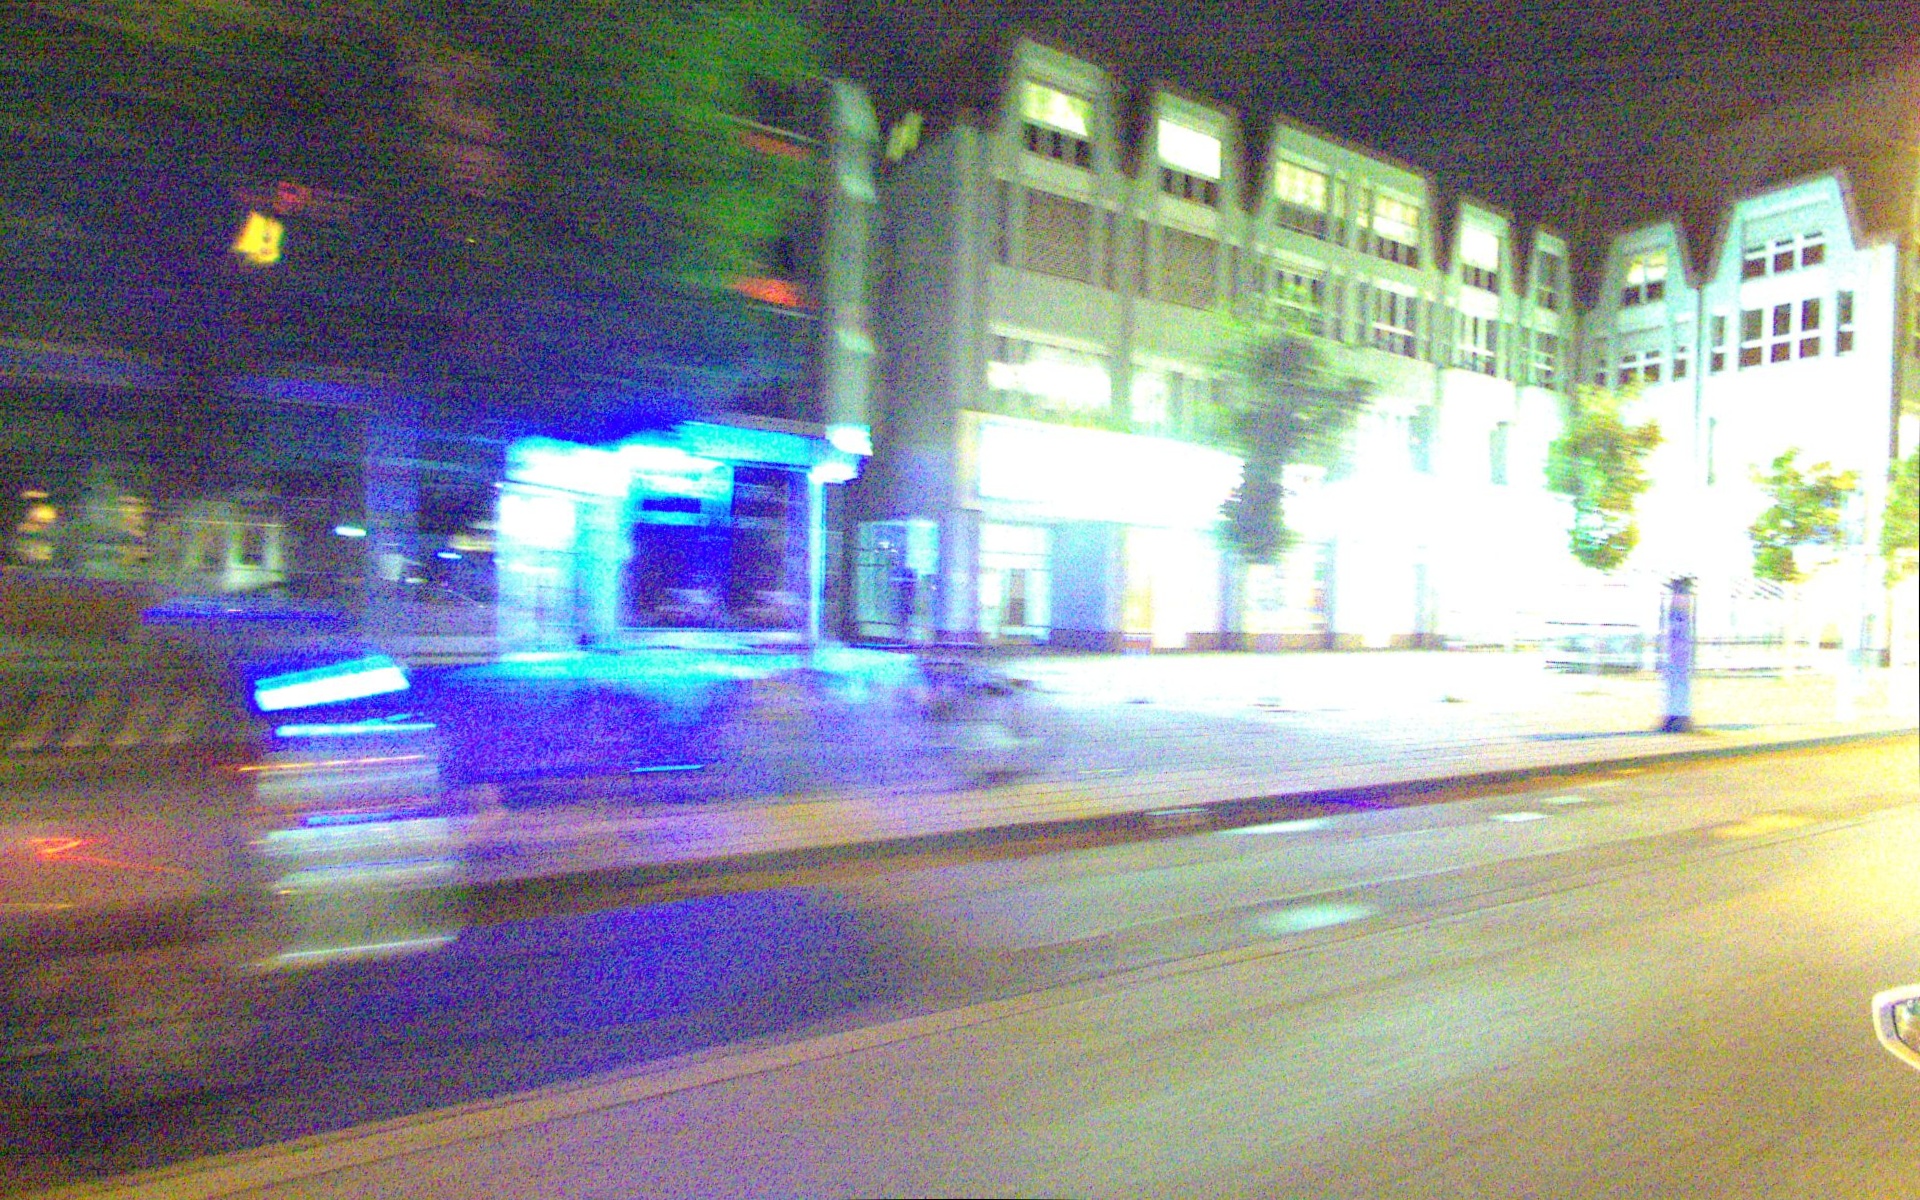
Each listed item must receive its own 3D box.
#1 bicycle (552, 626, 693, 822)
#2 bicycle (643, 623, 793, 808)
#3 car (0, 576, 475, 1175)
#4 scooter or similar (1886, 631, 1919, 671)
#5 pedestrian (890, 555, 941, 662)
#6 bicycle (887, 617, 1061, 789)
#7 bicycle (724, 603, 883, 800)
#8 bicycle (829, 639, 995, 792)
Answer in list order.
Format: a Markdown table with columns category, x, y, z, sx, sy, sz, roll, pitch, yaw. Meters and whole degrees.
| category | x | y | z | sx | sy | sz | roll | pitch | yaw |
| --- | --- | --- | --- | --- | --- | --- | --- | --- | --- |
| bicycle | -2.299 | 0.739 | 6.704 | 0.526 | 1.013 | 1.841 | 1 | 2 | -30 |
| bicycle | -1.779 | 0.744 | 7.178 | 0.526 | 1.049 | 1.841 | 1 | 2 | -30 |
| car | -3.588 | 0.659 | 2.769 | 3.930 | 1.448 | 1.713 | 1 | 2 | -30 |
| scooter or similar | 29.292 | 1.578 | 31.169 | 1.327 | 1.237 | 0.386 | 1 | 0 | -28 |
| pedestrian | -0.709 | 0.132 | 15.931 | 0.624 | 1.658 | 0.476 | 1 | 0 | -30 |
| bicycle | 0.056 | 0.755 | 8.099 | 0.526 | 1.182 | 1.842 | 1 | 0 | -30 |
| bicycle | -1.220 | 0.669 | 7.490 | 0.526 | 1.270 | 1.842 | 1 | 0 | -30 |
| bicycle | -0.433 | 0.831 | 7.828 | 0.495 | 0.981 | 1.842 | 1 | 0 | -30 |
